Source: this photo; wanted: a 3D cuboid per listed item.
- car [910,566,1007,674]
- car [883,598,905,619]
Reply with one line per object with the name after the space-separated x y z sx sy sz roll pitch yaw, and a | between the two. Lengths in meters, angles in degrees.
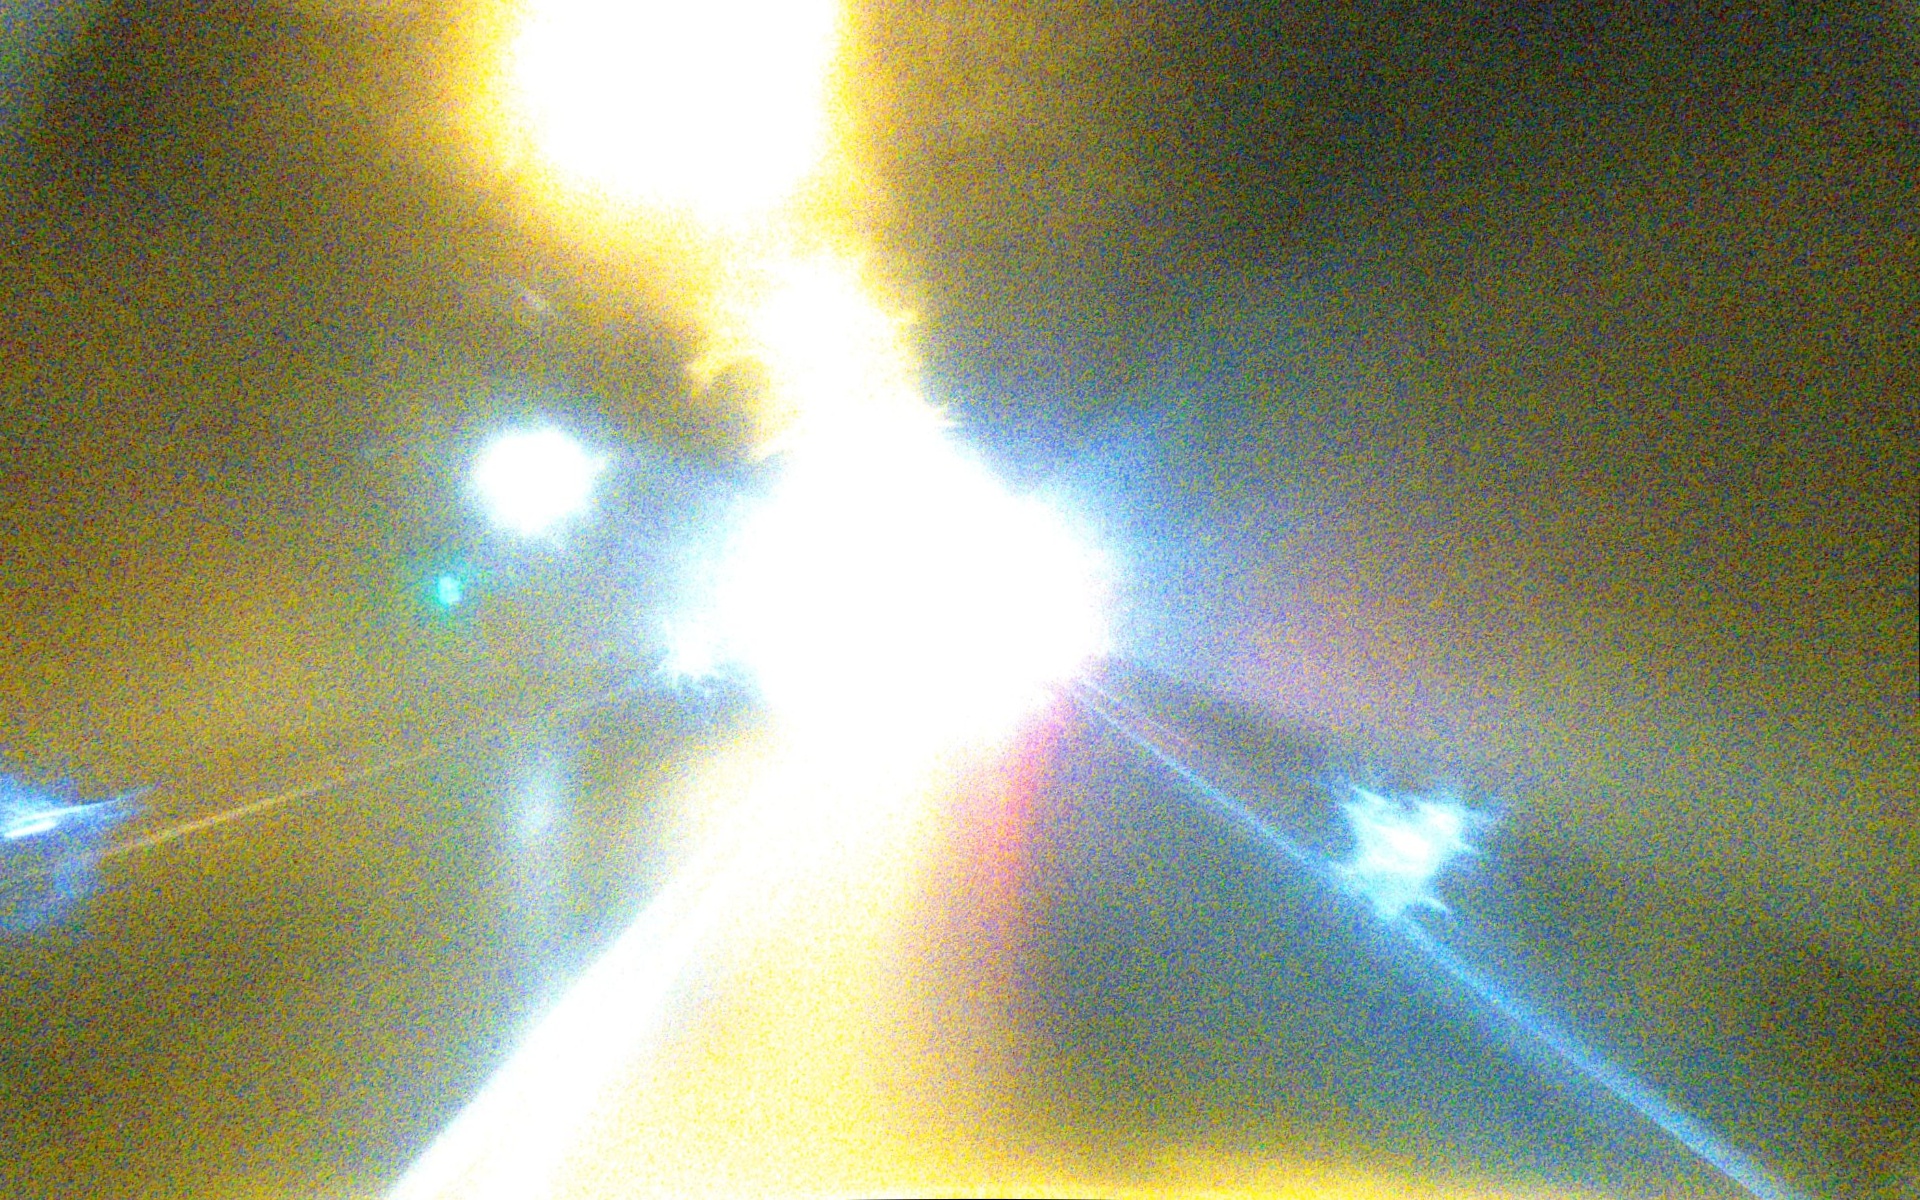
-0.028 0.298 29.472 1.602 1.788 4.146 -1 1 0 | car
-5.452 0.689 136.804 1.602 1.630 4.146 -1 1 0 | car
